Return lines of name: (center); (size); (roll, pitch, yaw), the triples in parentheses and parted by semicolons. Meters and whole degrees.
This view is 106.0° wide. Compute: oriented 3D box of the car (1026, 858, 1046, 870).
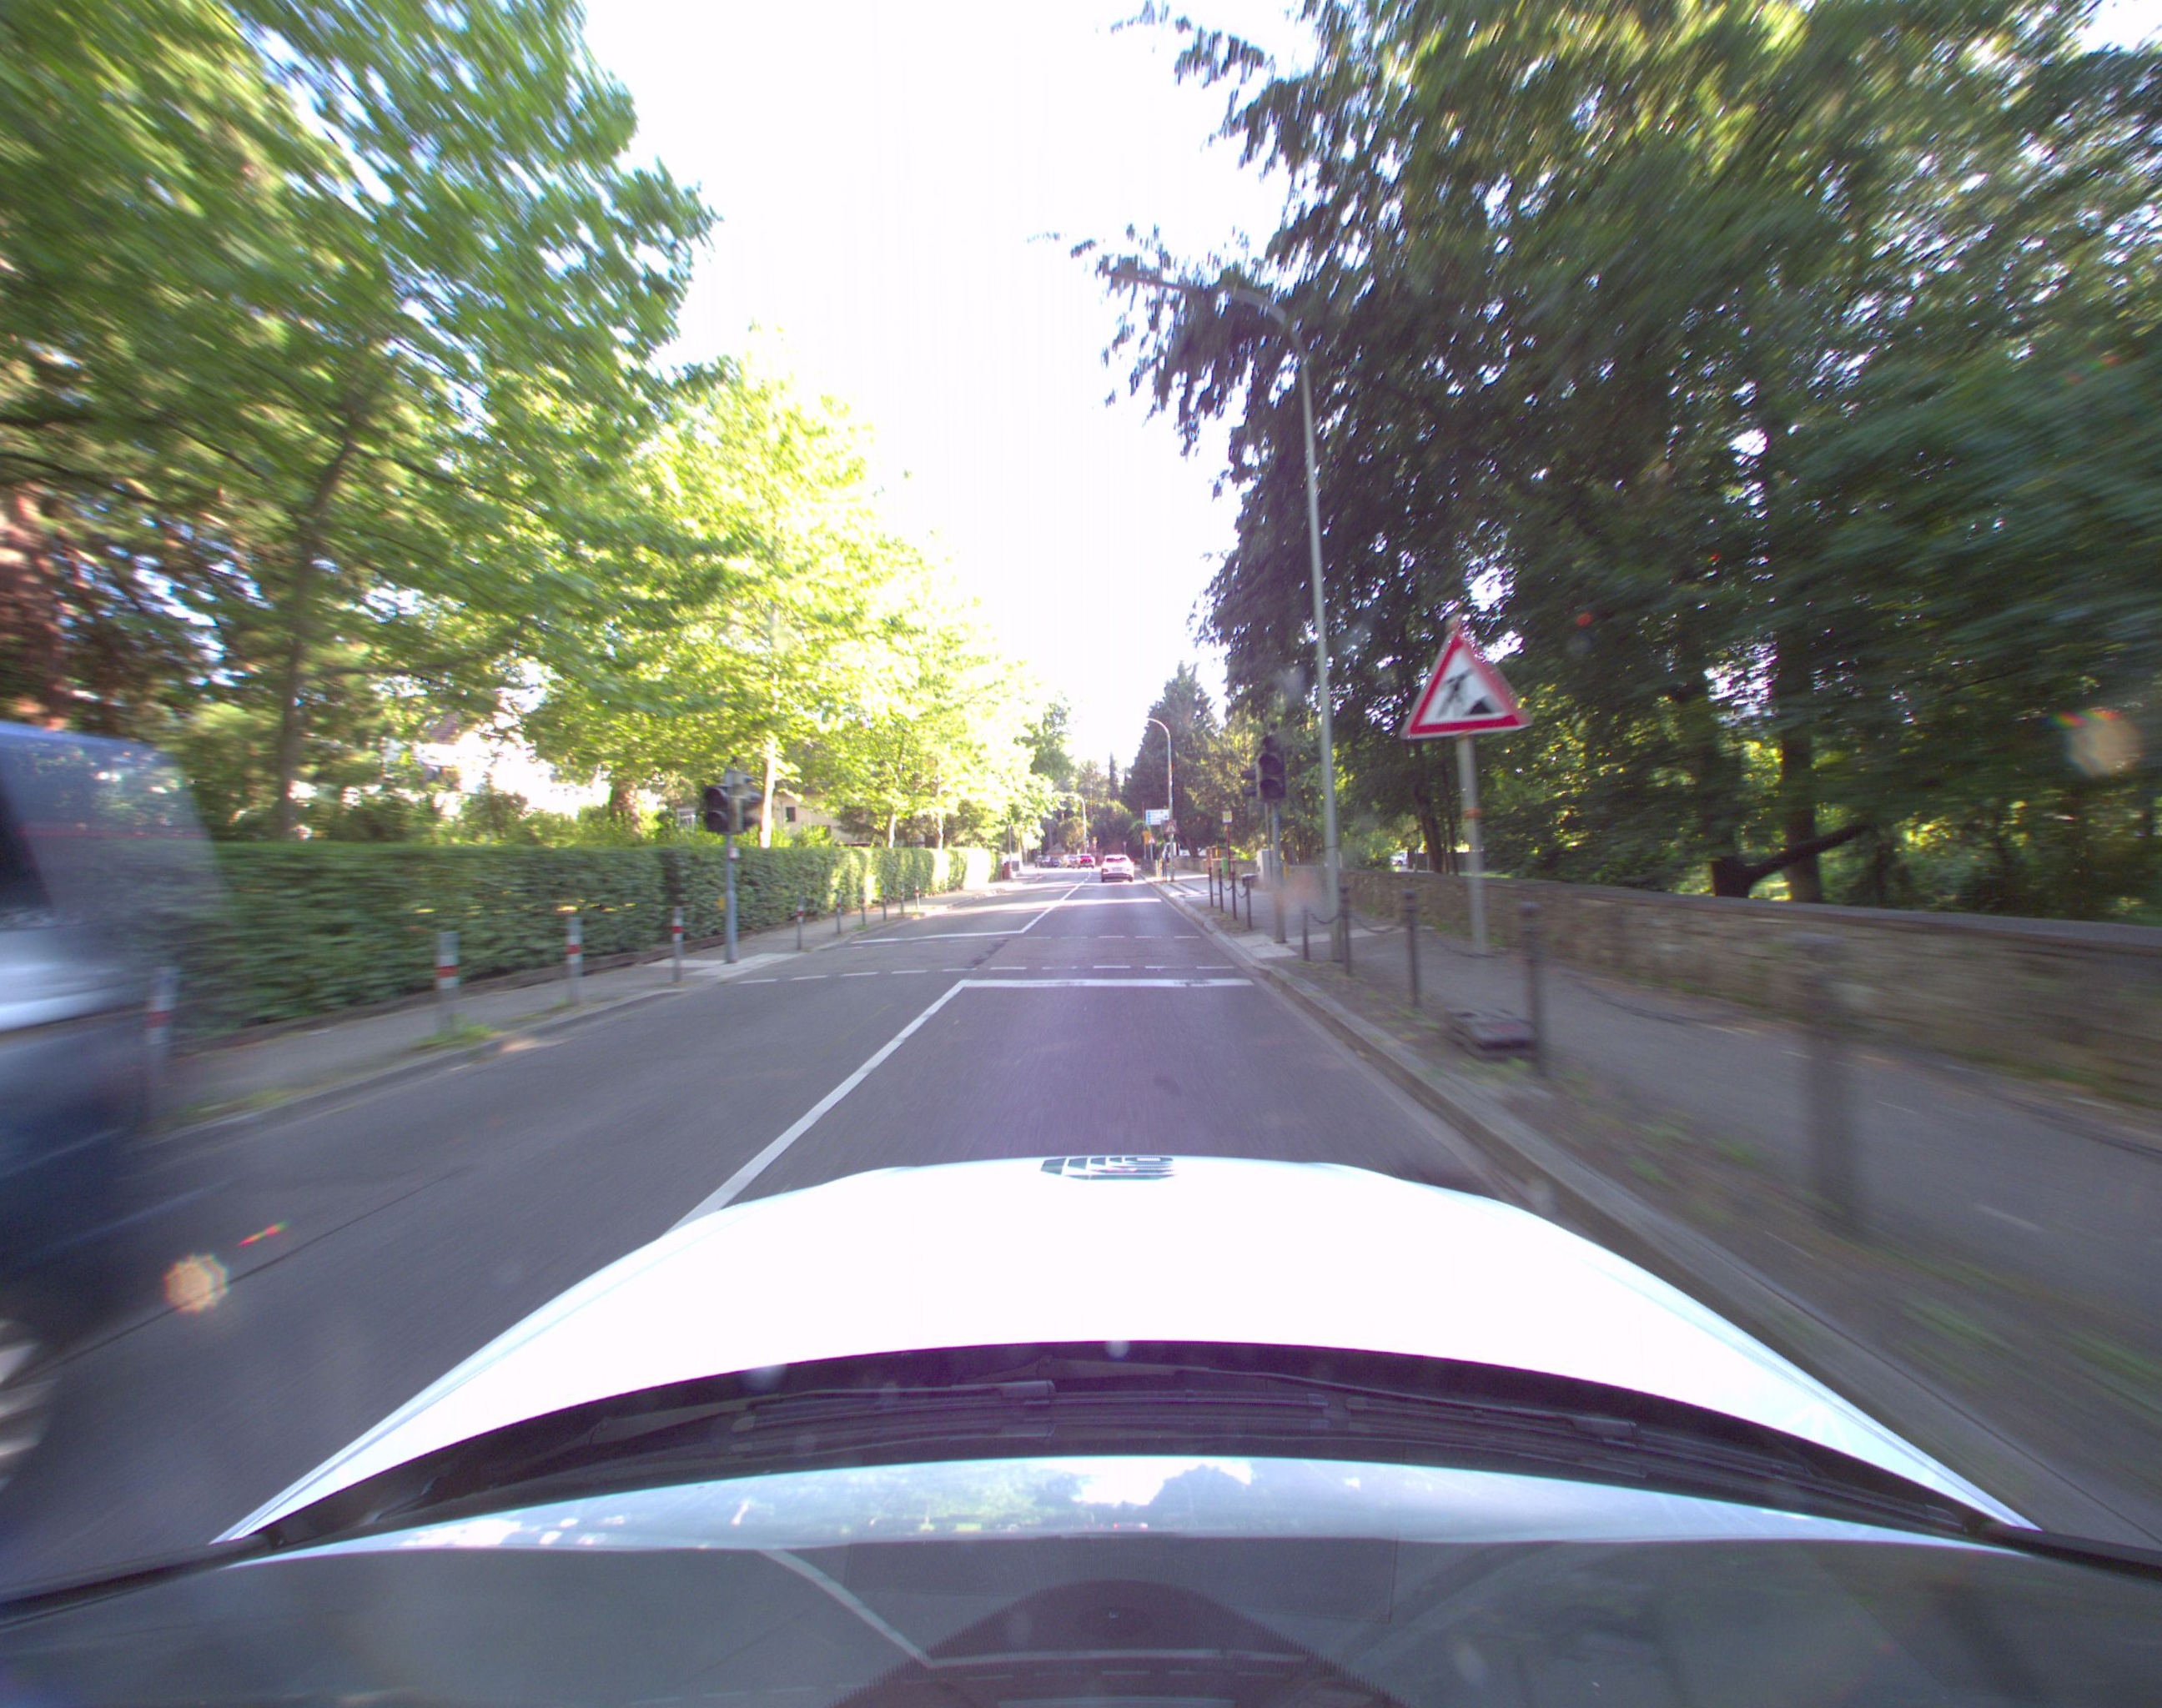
car: (-6.281, 1.416, 113.451); (1.836, 1.662, 3.978); (0, 0, -16)

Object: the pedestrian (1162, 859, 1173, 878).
pedestrian: (8.524, 1.441, 80.525); (0.947, 1.826, 0.548); (0, 1, -37)

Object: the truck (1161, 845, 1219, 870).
truck: (12.597, 0.416, 94.240); (6.552, 2.895, 2.438); (0, 0, 6)

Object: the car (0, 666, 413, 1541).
car: (-3.478, 0.607, 0.519); (1.987, 1.968, 4.778); (-4, 0, 1)

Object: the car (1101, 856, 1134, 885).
car: (2.106, 0.902, 47.375); (1.813, 1.574, 4.001); (1, 0, 2)

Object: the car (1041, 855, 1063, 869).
car: (-3.691, 0.979, 102.994); (1.835, 1.662, 3.979); (1, 0, -16)

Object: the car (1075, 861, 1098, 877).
car: (0.557, 1.624, 89.190); (1.831, 1.662, 3.987); (0, 0, -9)

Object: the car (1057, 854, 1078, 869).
car: (-1.615, 0.827, 97.051); (1.832, 1.741, 3.984); (0, 0, -11)
